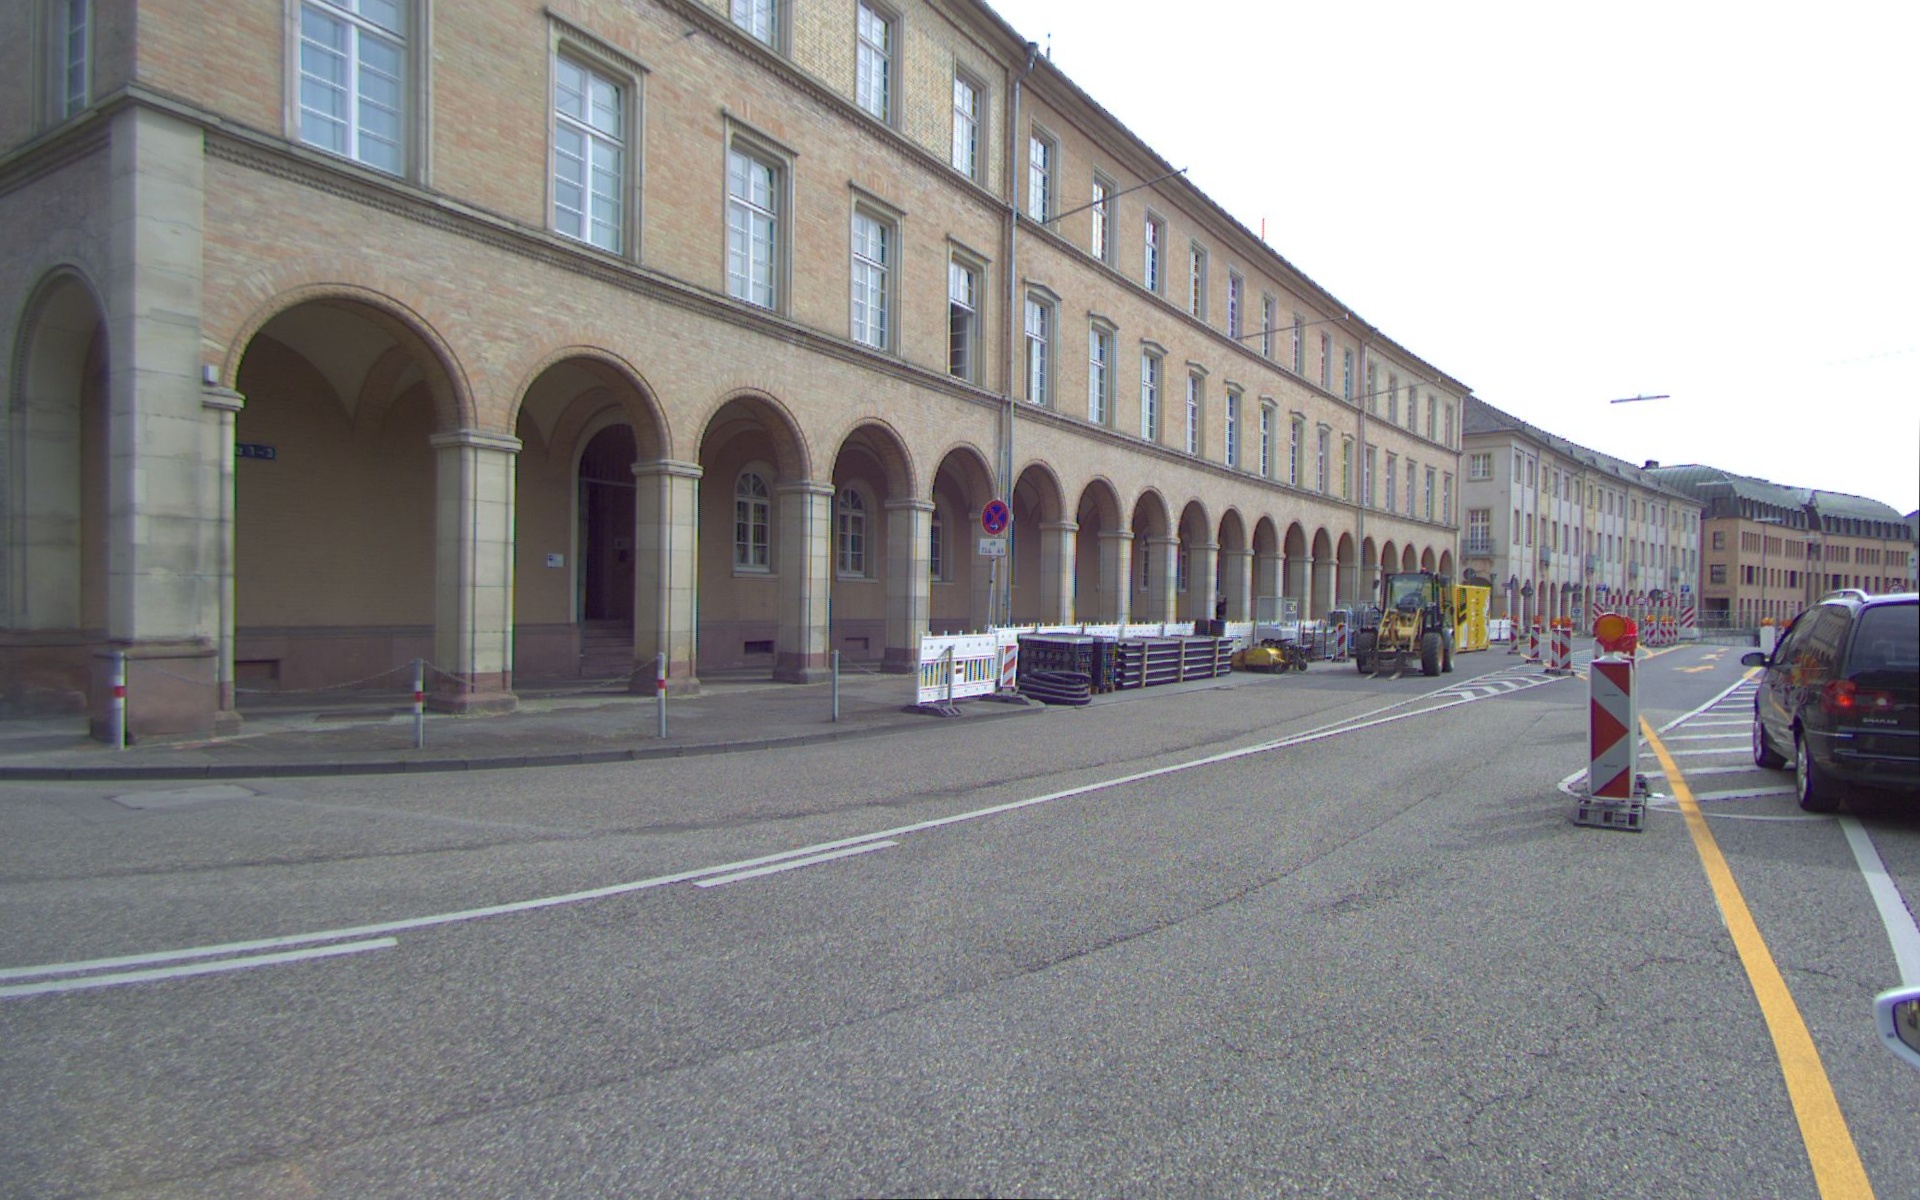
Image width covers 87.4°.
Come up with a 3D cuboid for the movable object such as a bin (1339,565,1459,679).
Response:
[{"bbox_3d":[11.774,0.556,26.769,2.087,2.754,4.605,1,0,34],"label":"movable object such as a bin"}]

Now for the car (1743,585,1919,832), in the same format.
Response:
[{"bbox_3d":[8.050,0.780,8.629,1.769,1.731,4.119,0,0,34],"label":"car"}]

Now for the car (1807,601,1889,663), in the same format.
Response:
[{"bbox_3d":[32.939,1.128,37.363,1.969,2.041,4.326,1,2,38],"label":"car"}]

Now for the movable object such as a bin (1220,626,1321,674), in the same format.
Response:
[{"bbox_3d":[8.302,1.293,26.773,1.783,1.140,2.738,1,0,36],"label":"movable object such as a bin"}]
